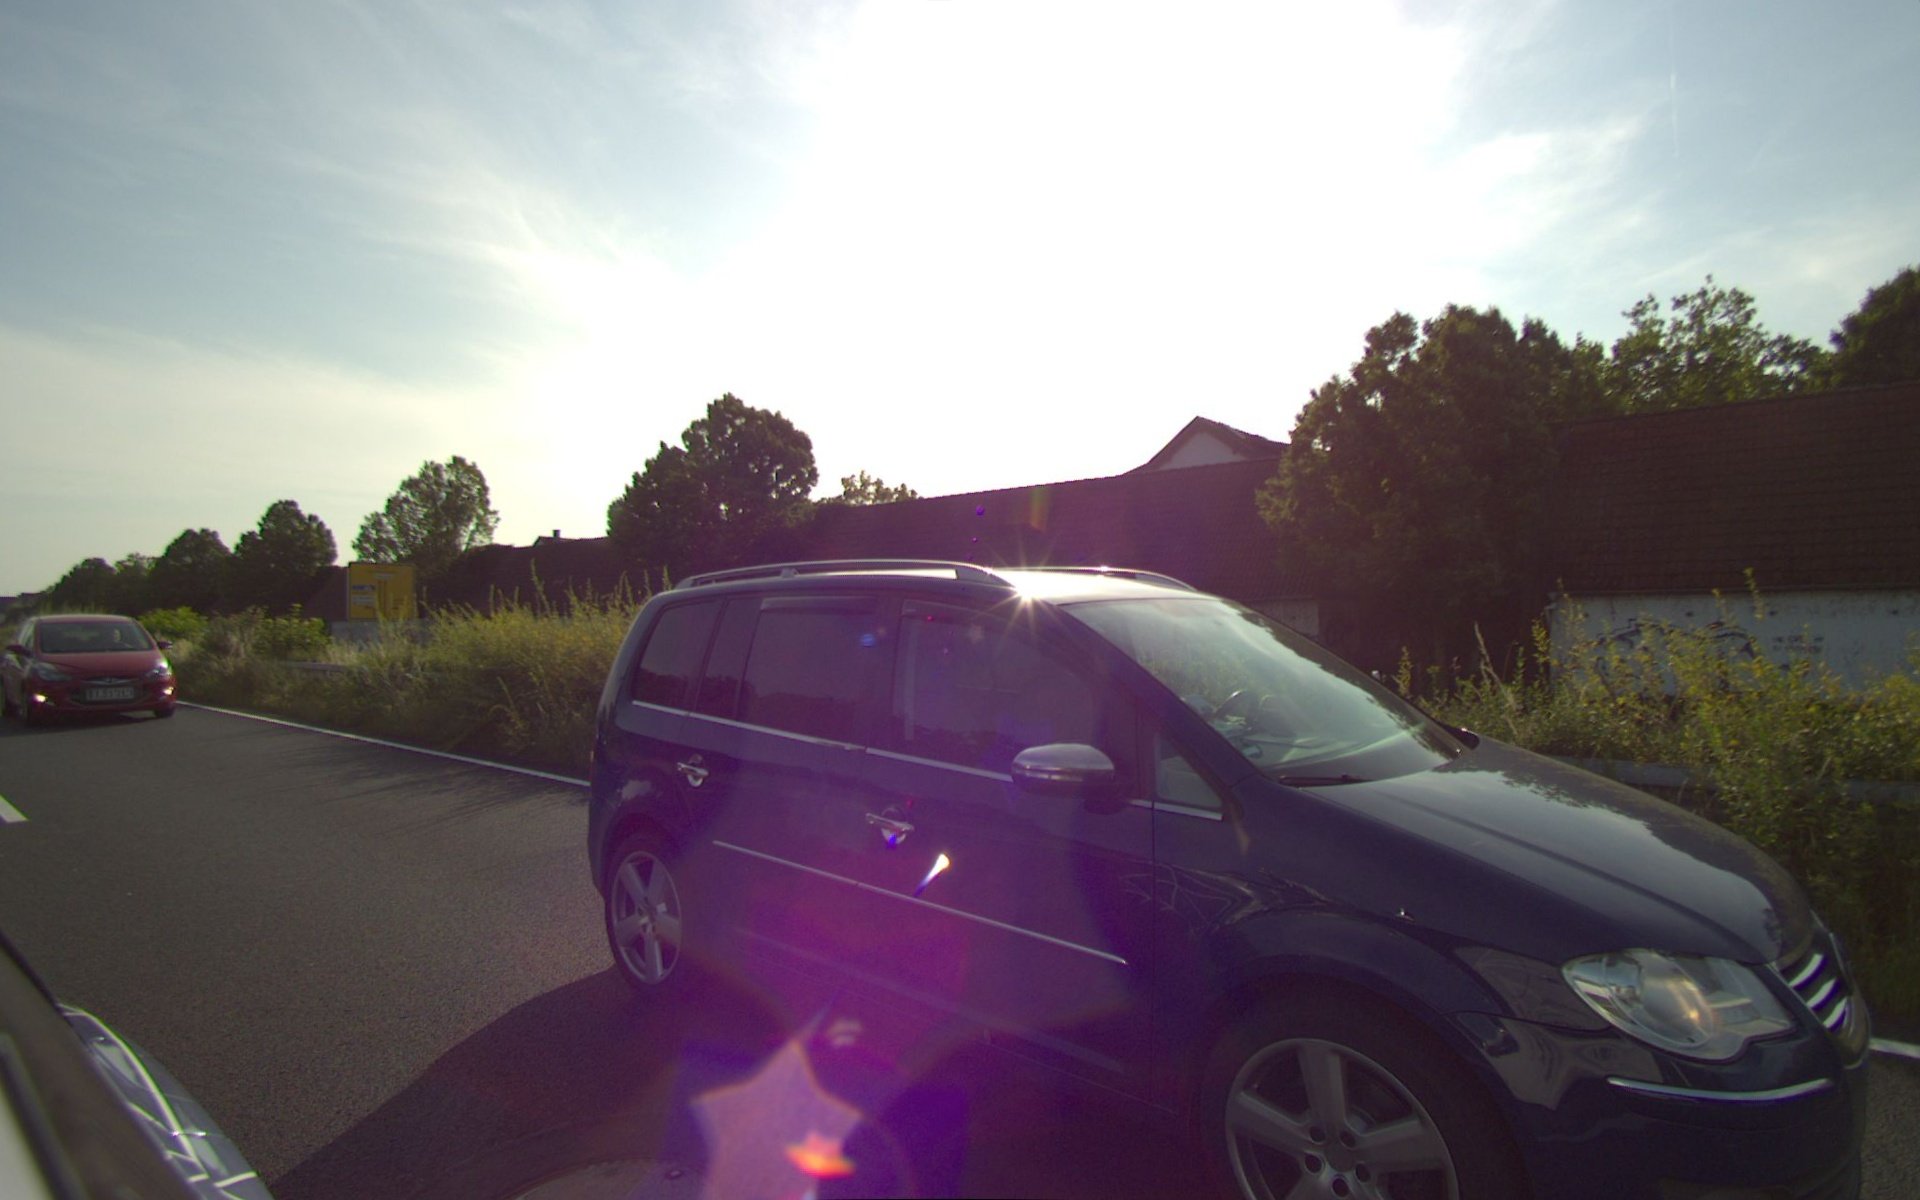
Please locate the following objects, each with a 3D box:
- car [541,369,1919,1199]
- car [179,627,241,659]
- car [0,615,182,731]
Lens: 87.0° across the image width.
[{"bbox_3d":[0.566,0.508,3.353,4.680,1.634,1.754,-1,-1,42],"label":"car"},{"bbox_3d":[-38.481,2.167,51.881,4.183,1.520,1.671,-1,0,41],"label":"car"},{"bbox_3d":[-13.644,1.018,15.725,3.998,1.557,1.726,-1,0,41],"label":"car"}]
